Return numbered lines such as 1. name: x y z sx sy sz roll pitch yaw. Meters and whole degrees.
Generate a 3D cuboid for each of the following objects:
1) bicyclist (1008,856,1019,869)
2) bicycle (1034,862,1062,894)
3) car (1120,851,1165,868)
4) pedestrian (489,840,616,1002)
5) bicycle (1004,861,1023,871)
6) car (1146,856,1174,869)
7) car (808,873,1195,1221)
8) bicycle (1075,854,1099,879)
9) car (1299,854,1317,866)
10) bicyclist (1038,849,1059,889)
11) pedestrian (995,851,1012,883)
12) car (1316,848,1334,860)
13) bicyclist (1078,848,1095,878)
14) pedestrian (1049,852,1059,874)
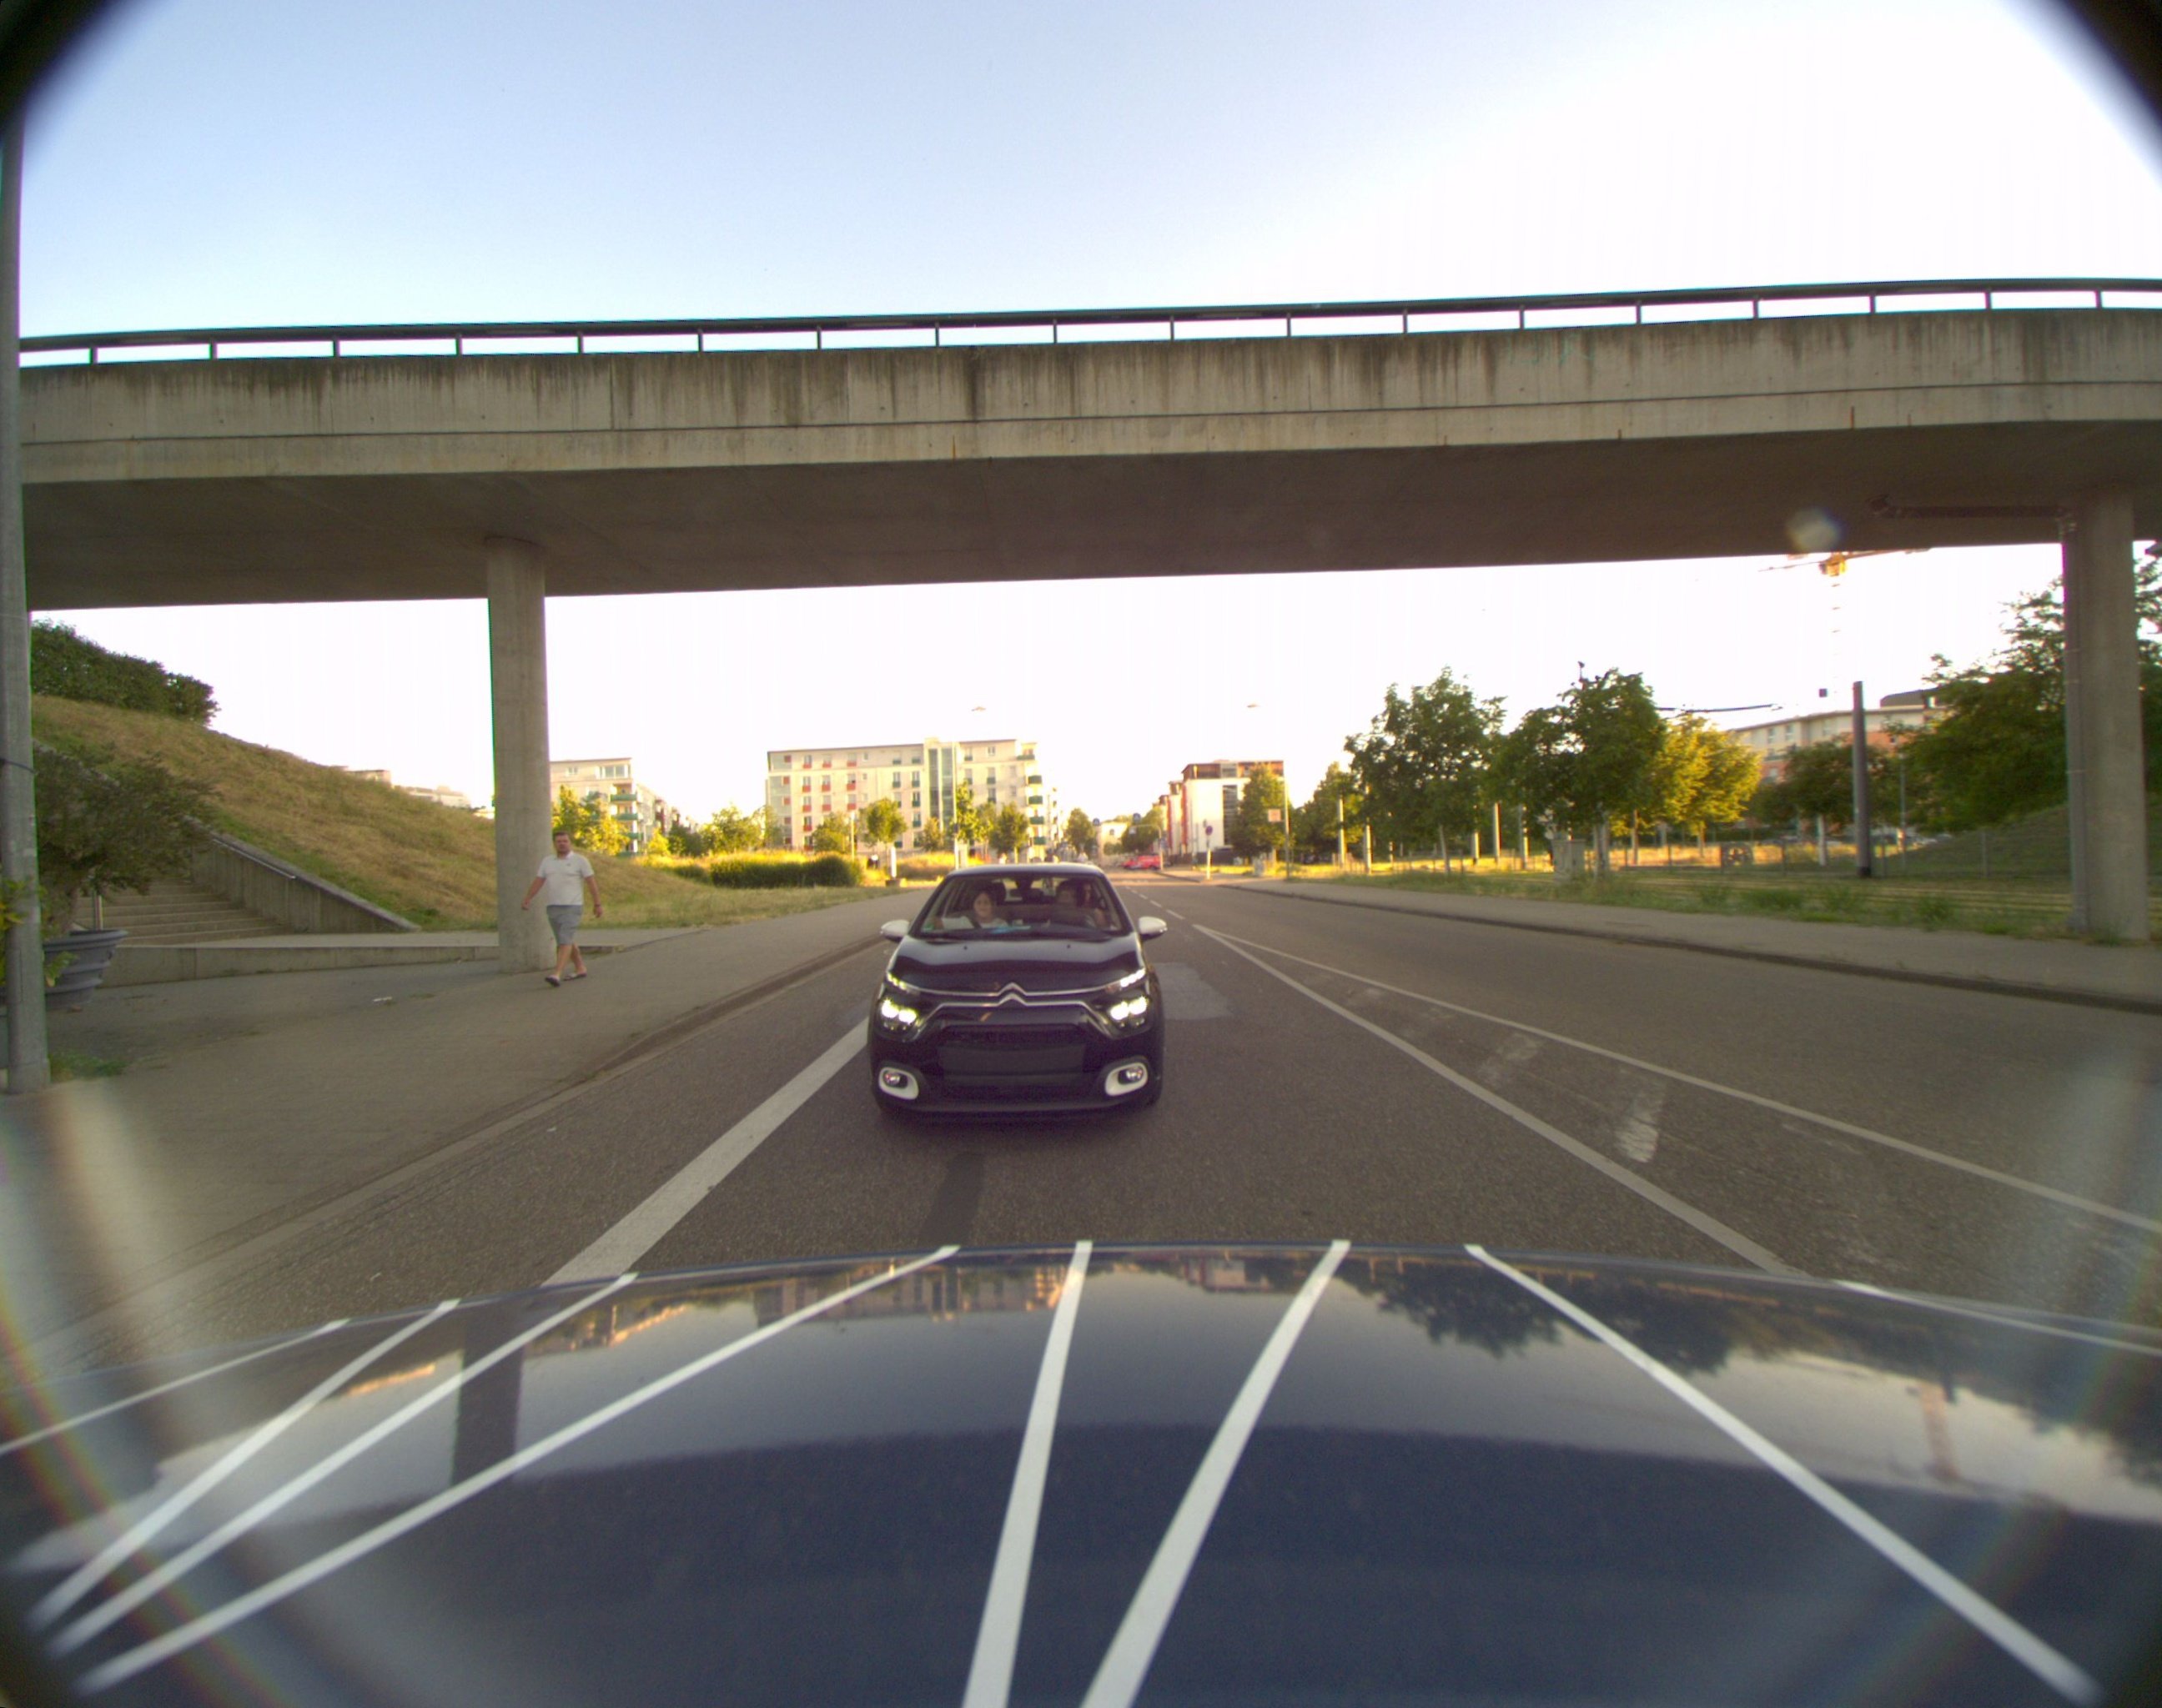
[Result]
1. bicyclist: -8.006 1.022 89.906 0.934 1.585 1.065 -2 0 -29
2. bicycle: -1.353 0.971 31.713 0.662 1.217 2.441 -2 0 8
3. car: 8.013 0.764 99.195 5.514 2.002 2.003 -2 0 21
4. pedestrian: -5.948 0.724 8.604 0.737 1.714 0.906 -2 0 1
5. bicycle: -8.013 1.448 90.331 0.902 1.142 3.491 -2 0 -27
6. car: 11.896 1.290 114.040 3.996 1.718 2.000 -2 0 2
7. car: -0.334 0.944 5.503 1.739 1.455 4.000 -2 0 1
8. bicycle: 0.420 0.788 49.082 0.886 1.483 3.324 -2 0 12
9. car: 29.061 0.762 97.227 1.942 1.521 4.004 -2 0 14
10. bicyclist: -1.348 0.633 31.661 0.696 1.630 0.852 -2 0 7
11. pedestrian: -3.964 0.660 38.958 0.737 1.620 0.859 0 0 2
12. car: 31.048 -0.013 96.711 1.942 1.521 4.004 -2 0 14
13. bicyclist: 0.360 0.570 49.273 0.882 1.865 1.035 -2 0 12
14. pedestrian: -2.049 0.682 57.872 0.737 1.714 0.532 0 0 1
